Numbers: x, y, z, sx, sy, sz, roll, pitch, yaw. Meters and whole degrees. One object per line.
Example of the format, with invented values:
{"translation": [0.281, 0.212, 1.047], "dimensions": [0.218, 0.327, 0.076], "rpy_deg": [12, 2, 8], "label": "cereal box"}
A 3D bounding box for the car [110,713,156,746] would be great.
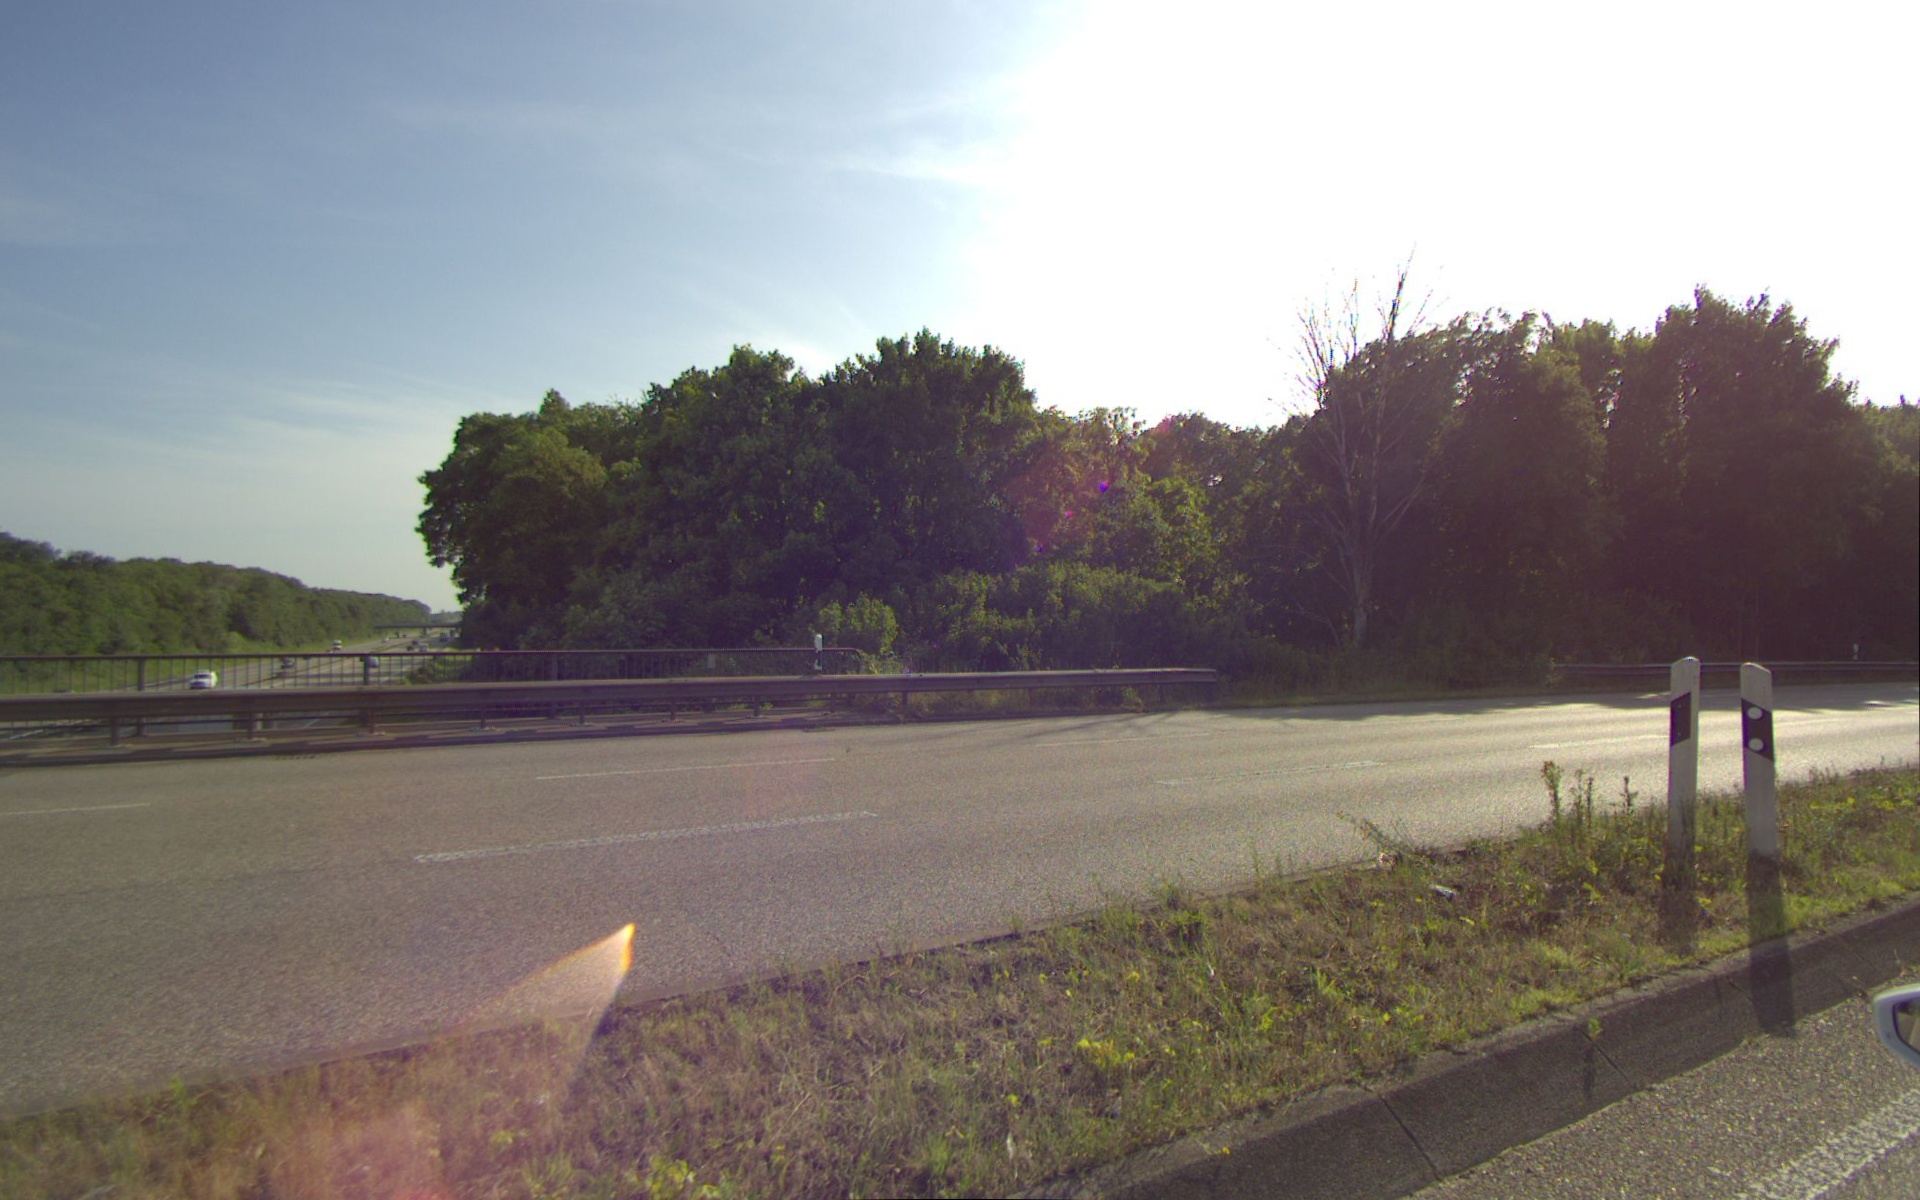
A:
{"translation": [-56.725, 8.861, 68.968], "dimensions": [1.860, 1.746, 4.153], "rpy_deg": [1, -1, -31], "label": "car"}

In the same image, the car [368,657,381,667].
{"translation": [-108.945, 11.490, 186.862], "dimensions": [1.860, 1.746, 4.153], "rpy_deg": [1, -1, -31], "label": "car"}

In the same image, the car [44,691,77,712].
{"translation": [-94.554, 10.627, 105.616], "dimensions": [1.860, 1.747, 4.153], "rpy_deg": [1, 0, -31], "label": "car"}

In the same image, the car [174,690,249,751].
{"translation": [-41.840, 6.798, 56.322], "dimensions": [2.734, 3.156, 6.265], "rpy_deg": [2, -8, -32], "label": "car"}
